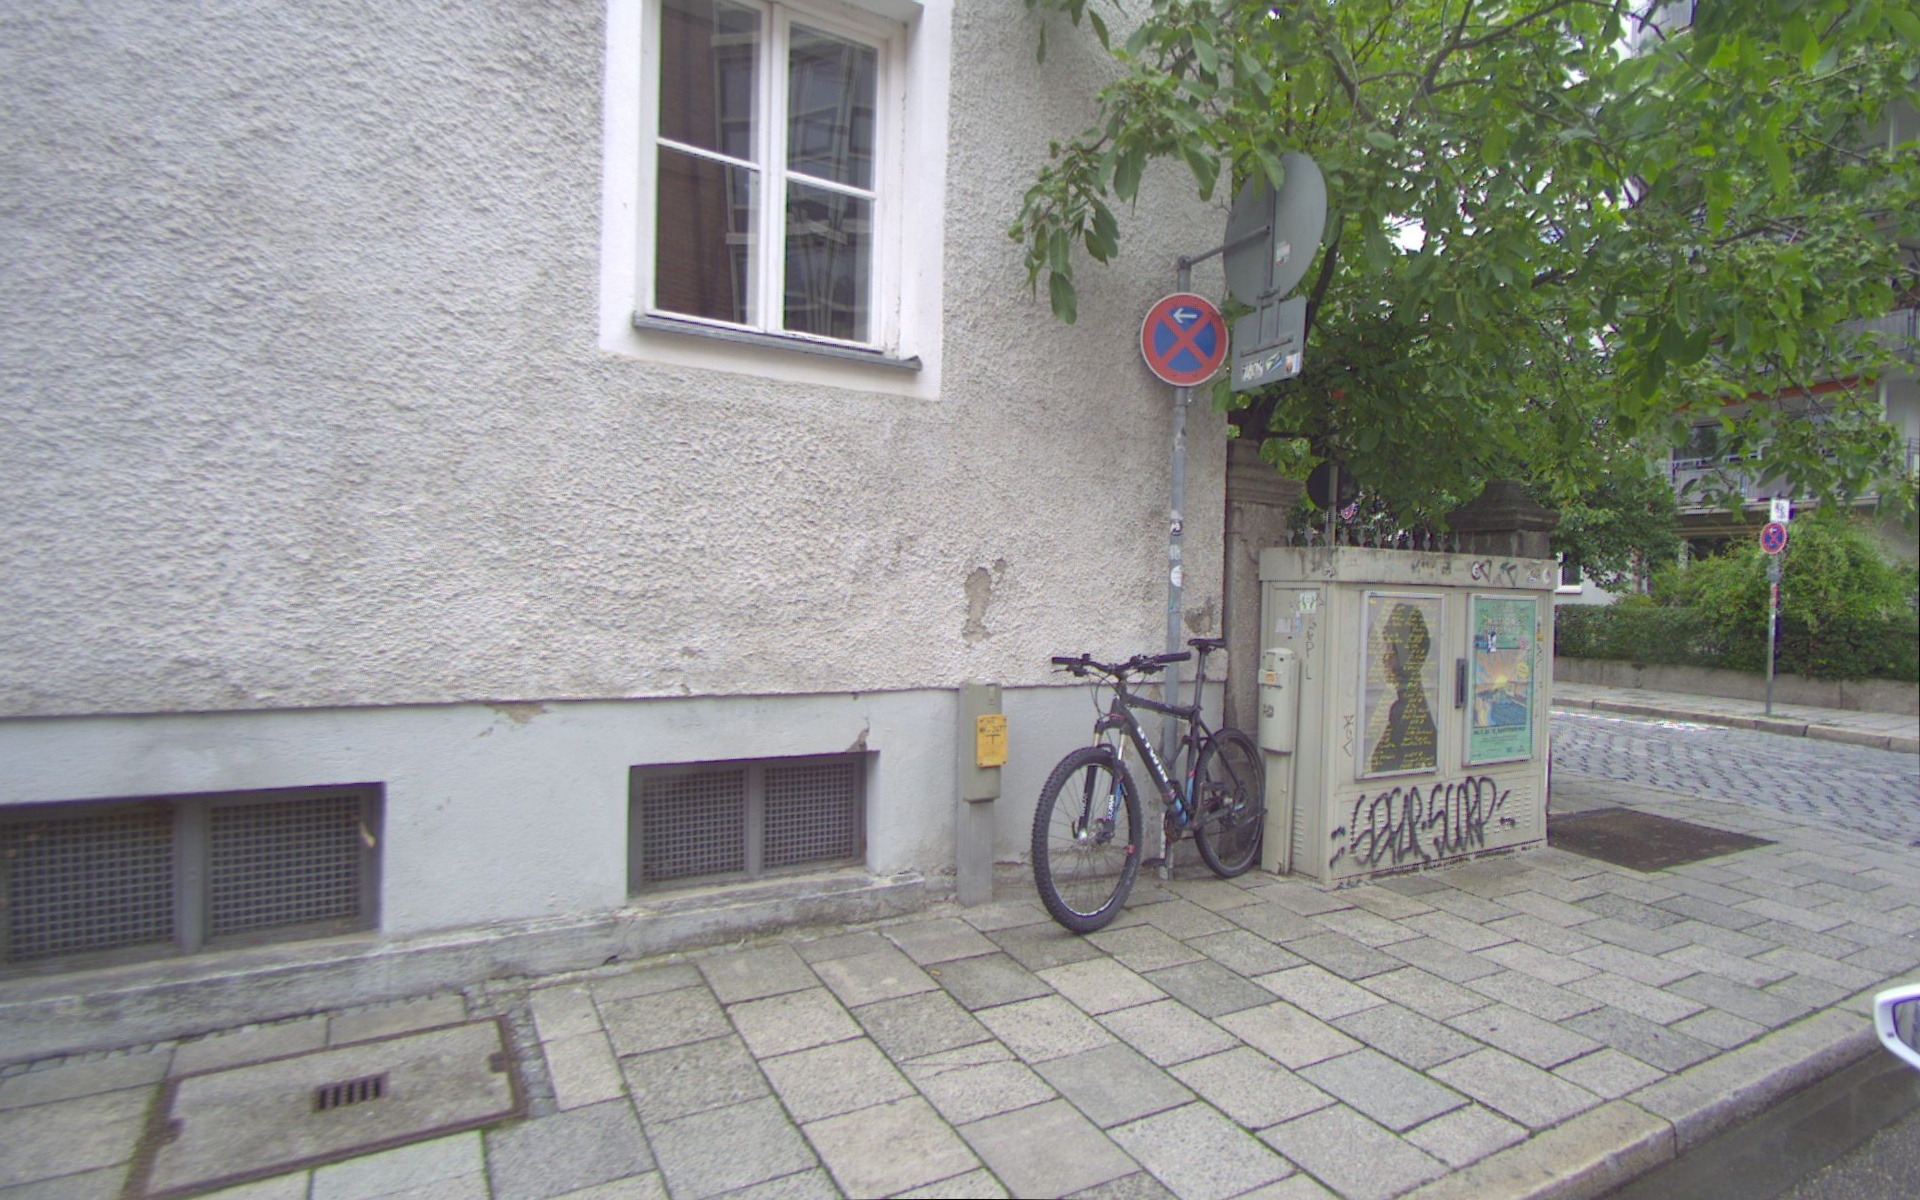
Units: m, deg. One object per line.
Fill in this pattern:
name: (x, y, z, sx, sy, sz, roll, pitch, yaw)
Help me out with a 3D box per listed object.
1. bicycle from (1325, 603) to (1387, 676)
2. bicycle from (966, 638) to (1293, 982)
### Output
bicycle: (7.863, 0.745, 20.049, 0.675, 1.260, 2.307, 1, 2, 10)
bicycle: (0.797, 0.751, 4.246, 0.467, 1.126, 1.750, 3, 1, 42)
